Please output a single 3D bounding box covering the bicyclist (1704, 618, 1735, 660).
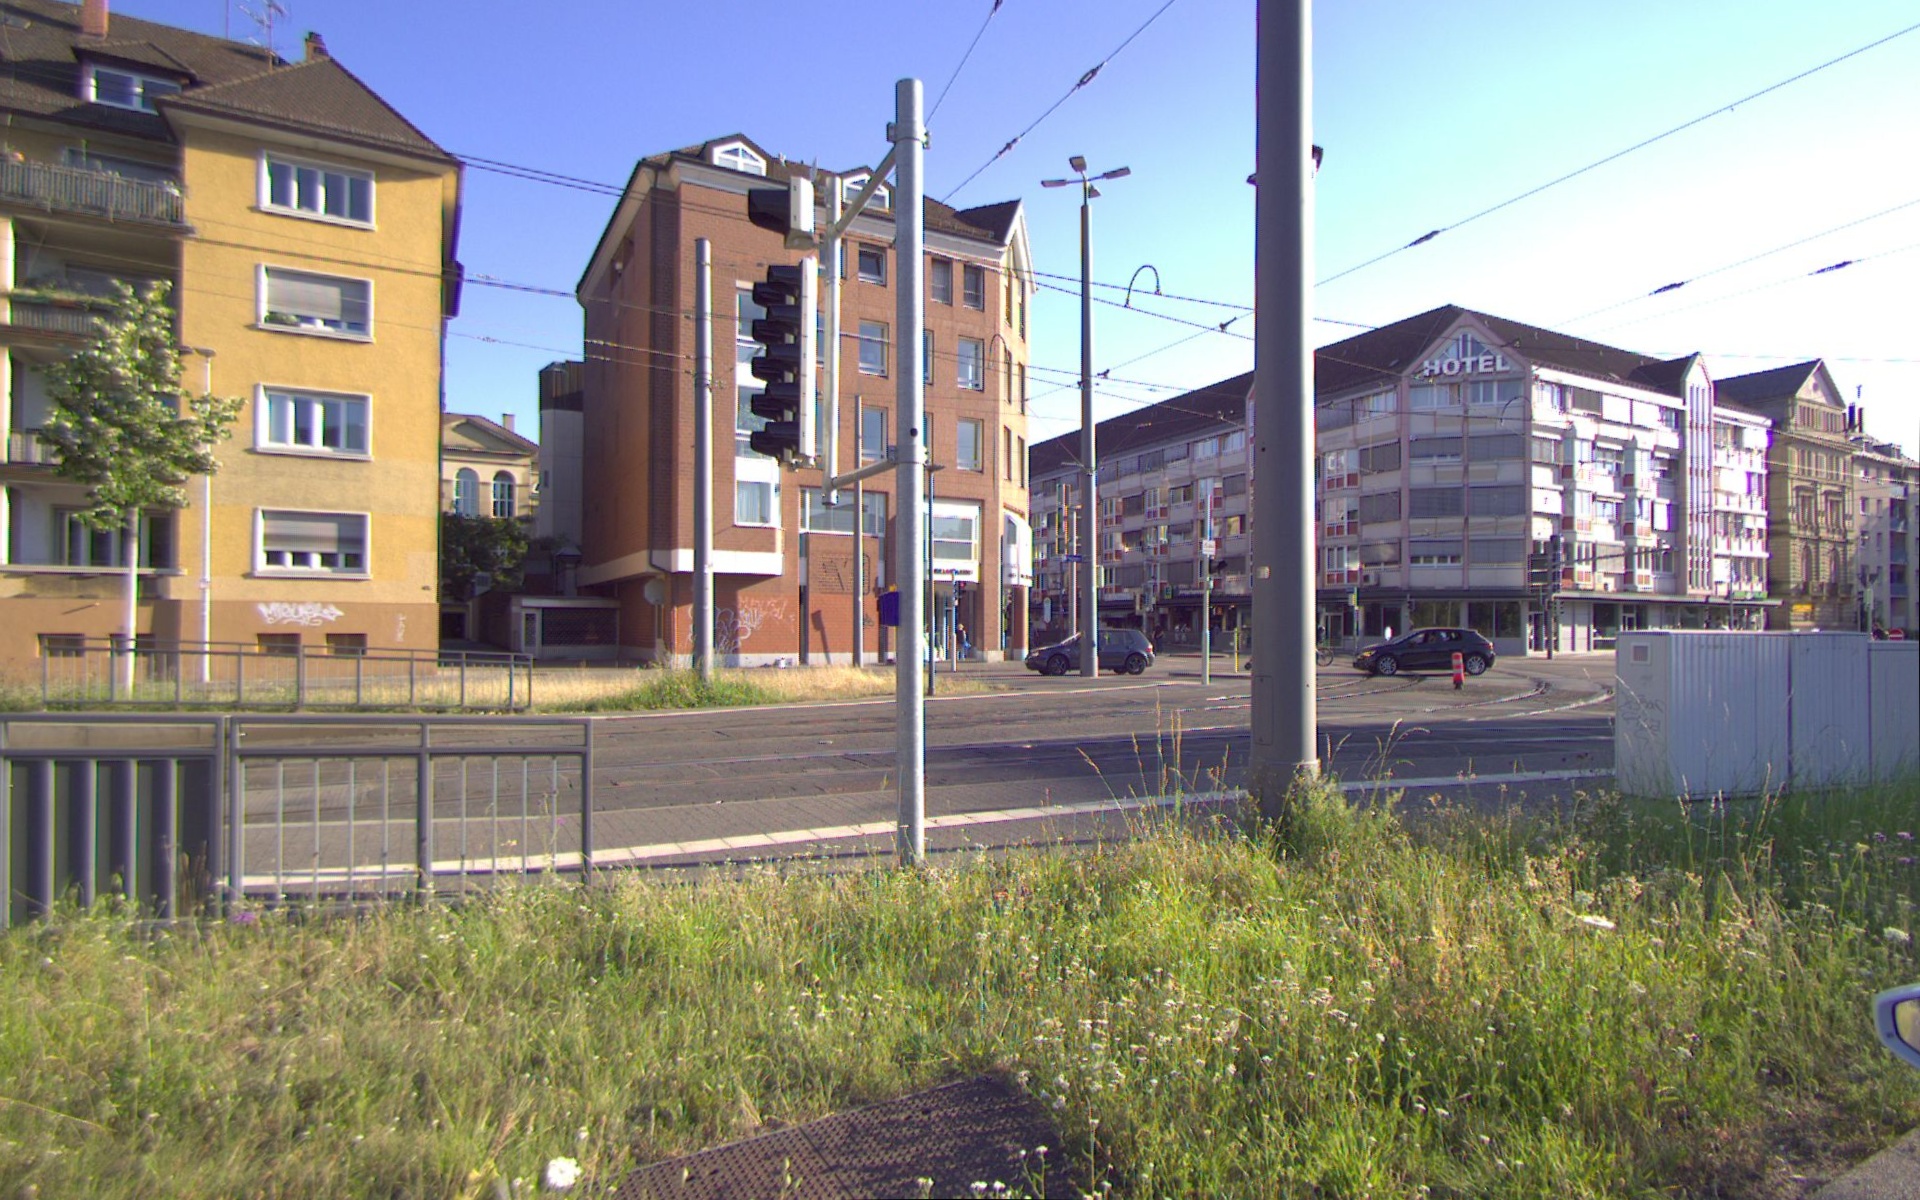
[{"bbox_3d":[33.032,1.693,43.679,0.648,1.776,0.893,1,-2,-33],"label":"bicyclist"}]

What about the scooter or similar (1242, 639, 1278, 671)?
[{"bbox_3d":[10.535,1.919,35.270,1.151,1.086,0.530,0,-2,9],"label":"scooter or similar"}]

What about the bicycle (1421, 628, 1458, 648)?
[{"bbox_3d":[25.919,2.067,54.313,0.535,1.073,1.718,1,-2,-39],"label":"bicycle"}]

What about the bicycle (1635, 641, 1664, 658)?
[{"bbox_3d":[38.816,2.766,56.548,1.813,0.927,0.596,1,-2,-28],"label":"bicycle"}]

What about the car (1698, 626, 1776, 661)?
[{"bbox_3d":[43.041,2.393,55.632,3.949,1.884,1.986,1,-2,-28],"label":"car"}]

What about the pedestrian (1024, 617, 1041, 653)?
[{"bbox_3d":[4.195,2.022,58.219,0.713,2.040,0.712,1,-1,-26],"label":"pedestrian"}]

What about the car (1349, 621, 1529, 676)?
[{"bbox_3d":[14.680,1.473,31.053,4.683,1.617,2.001,0,-2,12],"label":"car"}]

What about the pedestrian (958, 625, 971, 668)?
[{"bbox_3d":[0.182,2.001,43.282,0.532,1.831,0.502,0,-1,-2],"label":"pedestrian"}]

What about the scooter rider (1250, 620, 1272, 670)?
[{"bbox_3d":[10.567,1.586,35.273,0.652,1.734,0.527,0,-1,10],"label":"scooter rider"}]

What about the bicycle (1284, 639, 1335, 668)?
[{"bbox_3d":[13.134,2.000,37.741,1.746,1.086,0.535,0,-1,-2],"label":"bicycle"}]

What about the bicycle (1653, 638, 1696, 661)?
[{"bbox_3d":[39.761,2.738,55.938,0.601,1.216,1.958,1,-1,-20],"label":"bicycle"}]

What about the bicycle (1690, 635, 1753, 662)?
[{"bbox_3d":[33.052,2.103,43.635,0.651,1.152,2.081,1,-2,-33],"label":"bicycle"}]

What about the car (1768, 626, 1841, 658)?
[{"bbox_3d":[50.229,2.478,59.760,3.949,1.884,1.986,1,-2,-28],"label":"car"}]

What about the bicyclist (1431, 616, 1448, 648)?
[{"bbox_3d":[25.915,1.732,54.326,0.534,1.734,0.658,1,-2,-39],"label":"bicyclist"}]

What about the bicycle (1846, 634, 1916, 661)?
[{"bbox_3d":[40.704,2.082,44.420,0.652,1.152,2.161,1,-2,-33],"label":"bicycle"}]

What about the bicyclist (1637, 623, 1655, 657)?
[{"bbox_3d":[38.683,2.265,56.653,0.634,1.886,0.590,1,-2,-28],"label":"bicyclist"}]

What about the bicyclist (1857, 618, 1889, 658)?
[{"bbox_3d":[40.571,1.681,44.627,0.643,1.776,0.893,1,-2,-33],"label":"bicyclist"}]

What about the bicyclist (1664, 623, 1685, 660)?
[{"bbox_3d":[39.774,2.315,55.904,0.595,2.040,0.775,1,-1,-20],"label":"bicyclist"}]

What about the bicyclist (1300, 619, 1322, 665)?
[{"bbox_3d":[13.189,1.578,37.758,0.652,1.734,0.538,0,-1,-1],"label":"bicyclist"}]

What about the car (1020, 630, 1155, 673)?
[{"bbox_3d":[3.986,1.599,31.765,3.925,1.305,1.846,0,-2,-7],"label":"car"}]
